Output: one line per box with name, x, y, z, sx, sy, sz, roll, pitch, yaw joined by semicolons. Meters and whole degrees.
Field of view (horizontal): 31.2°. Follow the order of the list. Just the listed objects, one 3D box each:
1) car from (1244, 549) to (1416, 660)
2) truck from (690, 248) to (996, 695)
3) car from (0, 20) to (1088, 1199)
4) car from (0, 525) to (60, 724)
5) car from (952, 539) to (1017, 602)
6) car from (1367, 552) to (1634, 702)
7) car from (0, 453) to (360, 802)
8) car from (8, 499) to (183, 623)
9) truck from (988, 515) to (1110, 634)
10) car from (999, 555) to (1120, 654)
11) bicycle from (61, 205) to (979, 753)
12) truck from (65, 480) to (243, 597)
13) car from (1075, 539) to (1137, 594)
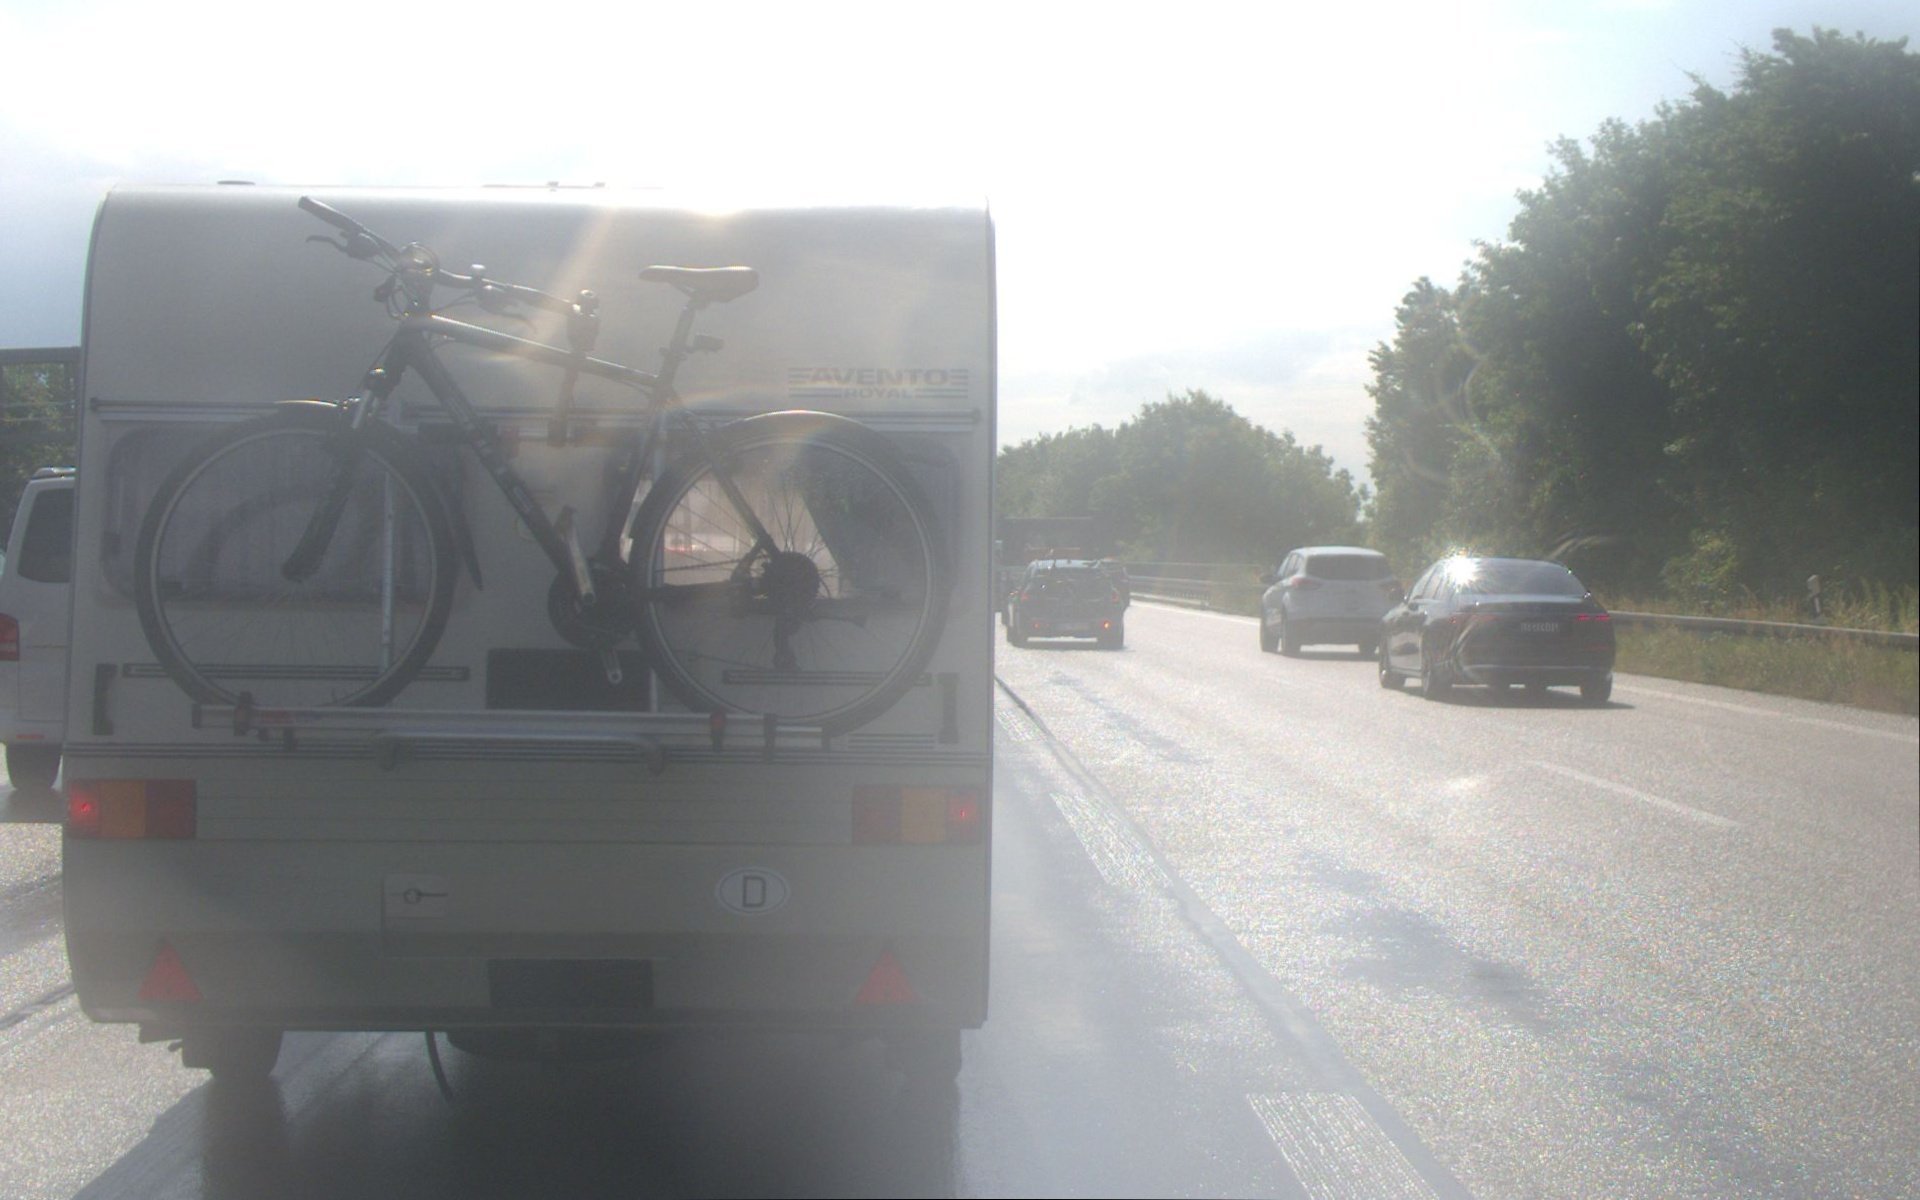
car;5.656;0.045;53.013;1.876;1.623;4.001;1;1;-5
truck;-1.422;-1.404;41.044;3.146;4.610;10.737;0;1;-2
car;-0.954;0.032;9.704;2.410;2.665;4.000;1;1;0
car;-8.880;0.189;28.951;1.771;1.656;4.001;1;1;-4
car;0.661;-0.835;94.613;1.719;1.678;4.000;0;1;0
car;5.687;0.254;36.638;1.876;1.489;4.001;1;1;-5
car;-5.013;0.138;21.984;1.876;2.007;4.001;1;1;-4
car;-17.439;-0.802;69.636;2.113;2.387;6.103;1;1;-1
truck;1.871;-0.575;74.338;2.415;2.435;6.053;0;1;0
car;1.616;0.052;57.020;1.835;1.552;4.000;1;1;0
bicycle;-0.938;-0.258;7.508;1.933;1.137;0.384;1;0;-1
truck;-21.718;-1.629;93.082;2.916;2.977;8.723;1;1;-1
car;4.574;-1.053;107.858;1.719;1.678;4.000;0;1;0
